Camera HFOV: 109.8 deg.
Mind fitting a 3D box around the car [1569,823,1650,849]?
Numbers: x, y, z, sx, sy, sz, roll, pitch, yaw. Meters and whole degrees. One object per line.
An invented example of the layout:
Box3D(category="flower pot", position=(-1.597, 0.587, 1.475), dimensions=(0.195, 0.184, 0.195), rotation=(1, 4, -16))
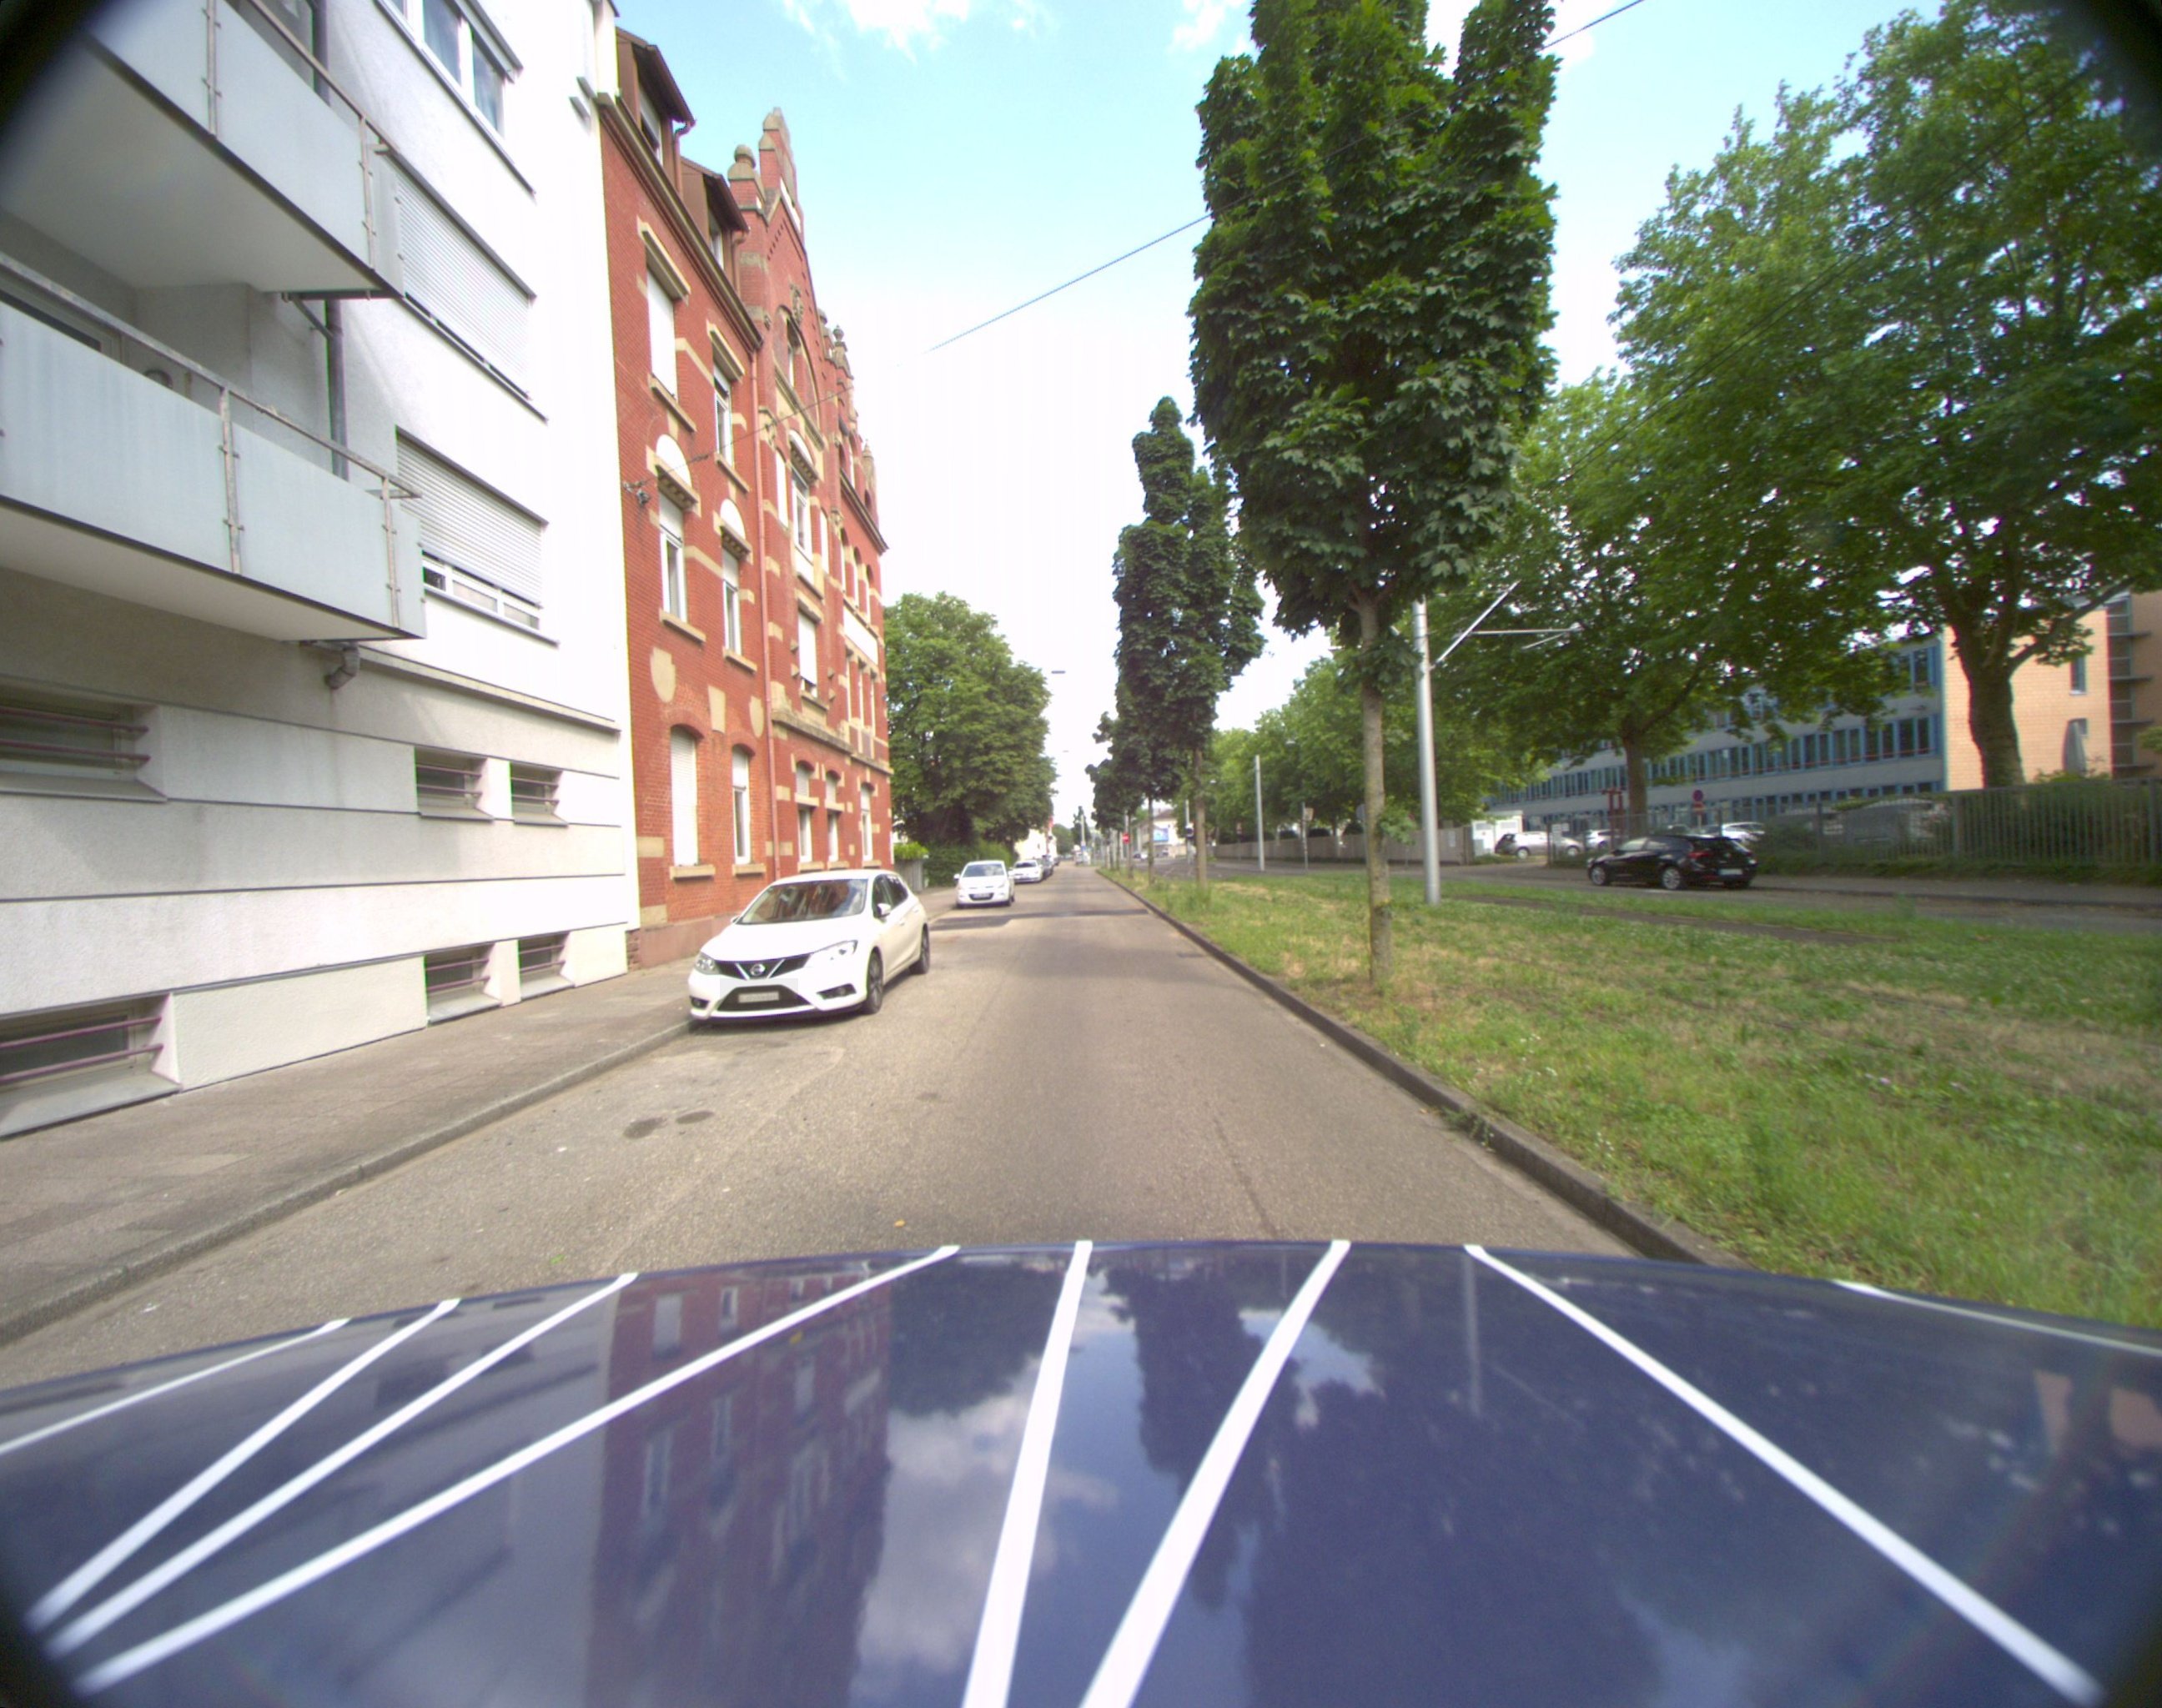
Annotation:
Box3D(category="car", position=(35.380, -1.203, 50.948), dimensions=(3.997, 1.608, 1.999), rotation=(-2, 1, -2))

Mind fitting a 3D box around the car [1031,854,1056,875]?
Box3D(category="car", position=(-3.133, 0.847, 63.865), dimensions=(1.801, 1.521, 4.040), rotation=(-5, 0, 0))

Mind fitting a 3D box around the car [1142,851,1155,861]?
Box3D(category="car", position=(11.736, 0.357, 132.580), dimensions=(1.801, 1.521, 4.040), rotation=(-4, 0, 0))

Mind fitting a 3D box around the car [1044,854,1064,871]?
Box3D(category="car", position=(-2.722, 0.872, 77.264), dimensions=(1.801, 1.521, 4.040), rotation=(-5, 0, 0))

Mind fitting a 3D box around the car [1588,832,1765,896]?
Box3D(category="car", position=(15.555, 0.222, 20.152), dimensions=(1.601, 1.455, 4.000), rotation=(-3, 0, 2))

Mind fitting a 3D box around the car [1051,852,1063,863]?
Box3D(category="car", position=(-3.850, 0.520, 122.199), dimensions=(1.801, 1.521, 4.040), rotation=(-5, 0, 0))

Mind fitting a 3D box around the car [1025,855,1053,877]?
Box3D(category="car", position=(-3.200, 0.898, 58.452), dimensions=(1.801, 1.521, 4.040), rotation=(-5, 0, 0))

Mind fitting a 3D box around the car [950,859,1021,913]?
Box3D(category="car", position=(-3.077, 0.988, 25.305), dimensions=(1.801, 1.521, 4.040), rotation=(-4, 0, 0))

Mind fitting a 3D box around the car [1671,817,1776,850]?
Box3D(category="car", position=(34.564, -1.086, 40.959), dimensions=(3.997, 1.608, 1.999), rotation=(-2, 1, -2))

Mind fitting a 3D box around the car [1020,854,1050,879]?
Box3D(category="car", position=(-3.162, 0.859, 52.992), dimensions=(1.801, 1.521, 4.040), rotation=(-5, 0, 0))

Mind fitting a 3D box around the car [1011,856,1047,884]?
Box3D(category="car", position=(-3.160, 0.942, 46.701), dimensions=(1.801, 1.521, 4.040), rotation=(-5, 0, 0))

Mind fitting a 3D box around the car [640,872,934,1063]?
Box3D(category="car", position=(-3.048, 1.077, 8.896), dimensions=(1.801, 1.521, 4.040), rotation=(-3, 0, 0))

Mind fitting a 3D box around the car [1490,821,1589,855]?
Box3D(category="car", position=(24.145, -0.823, 40.101), dimensions=(3.997, 1.608, 1.999), rotation=(-2, 1, -2))
